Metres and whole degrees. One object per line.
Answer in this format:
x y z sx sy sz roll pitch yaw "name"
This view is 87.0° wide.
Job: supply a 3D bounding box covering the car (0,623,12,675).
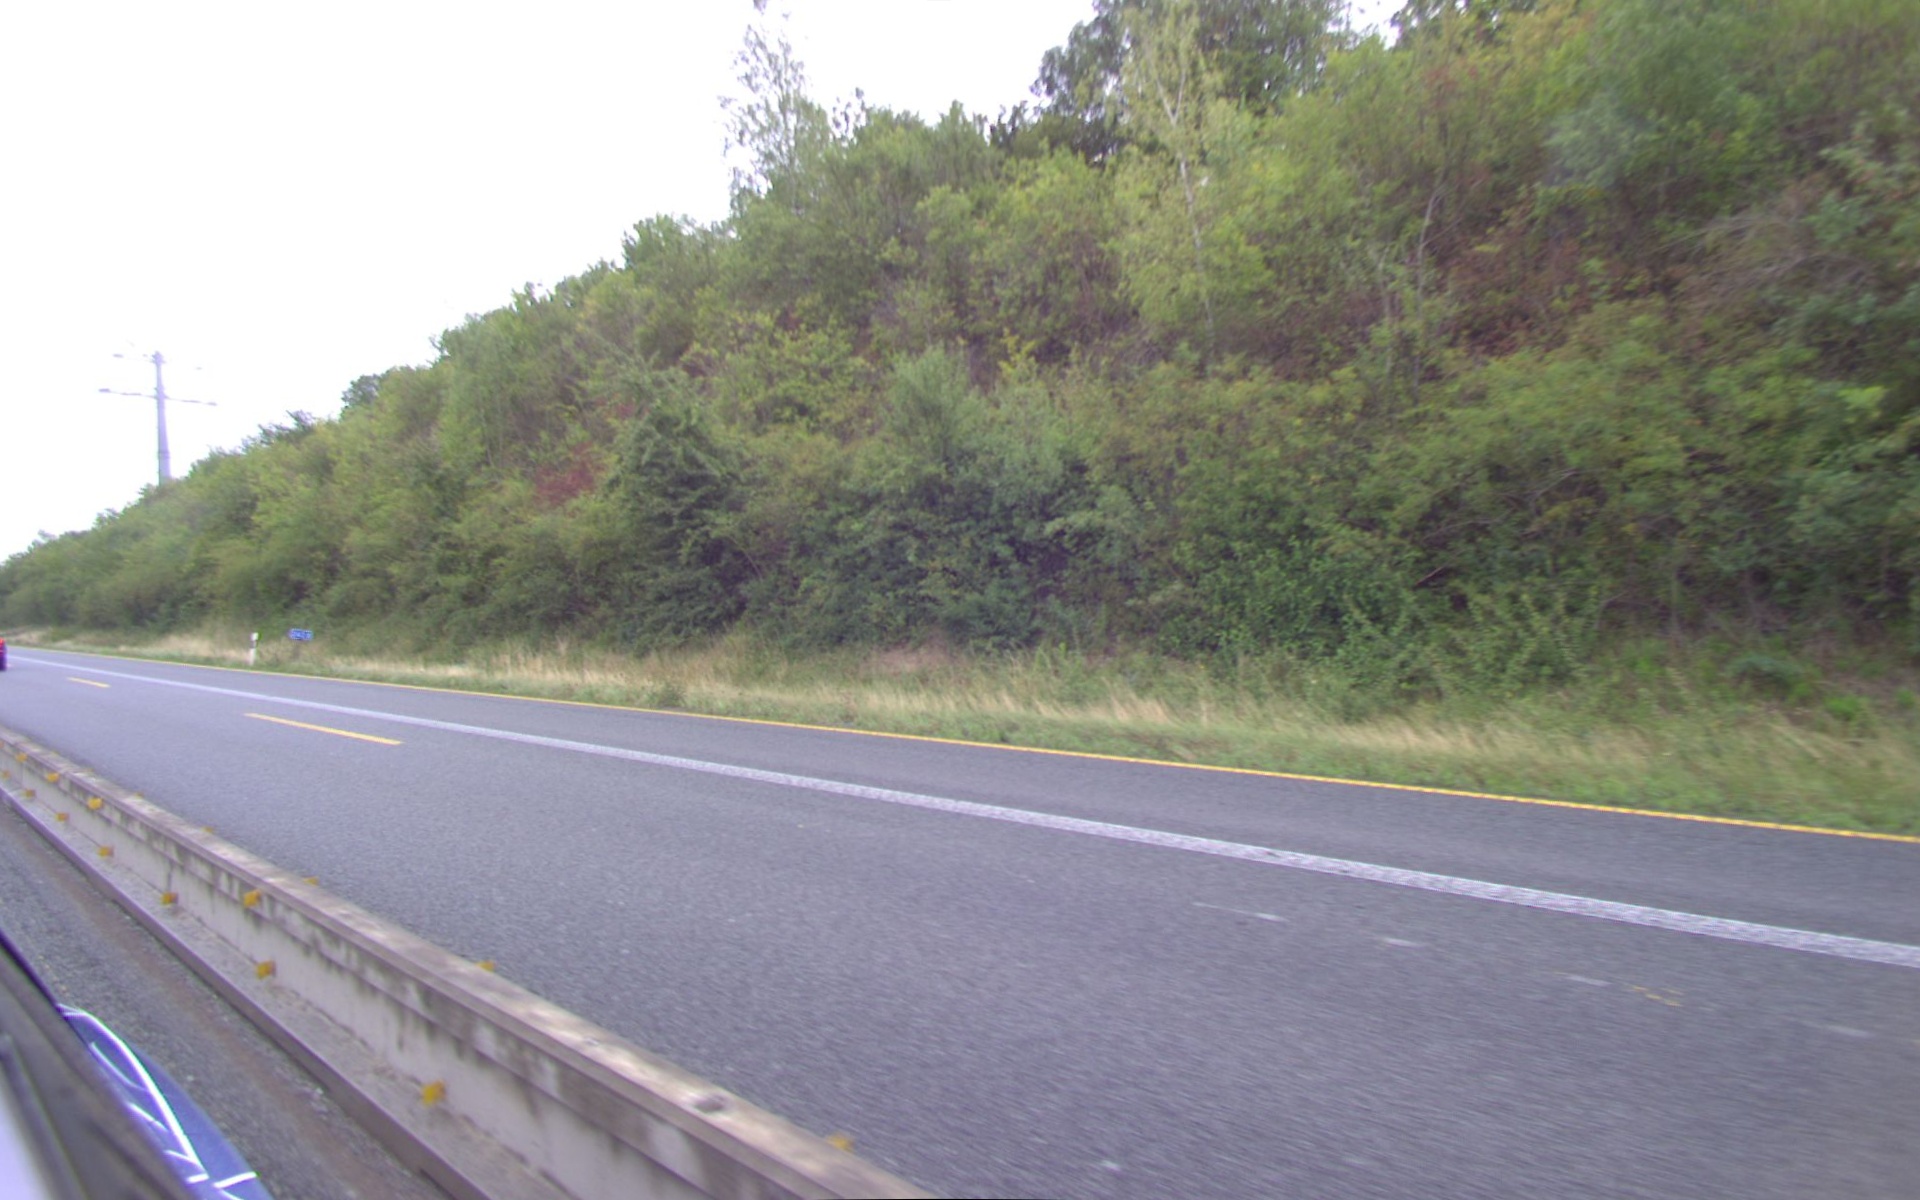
-30.911 1.508 31.422 3.998 1.567 1.776 -1 0 41 "car"
